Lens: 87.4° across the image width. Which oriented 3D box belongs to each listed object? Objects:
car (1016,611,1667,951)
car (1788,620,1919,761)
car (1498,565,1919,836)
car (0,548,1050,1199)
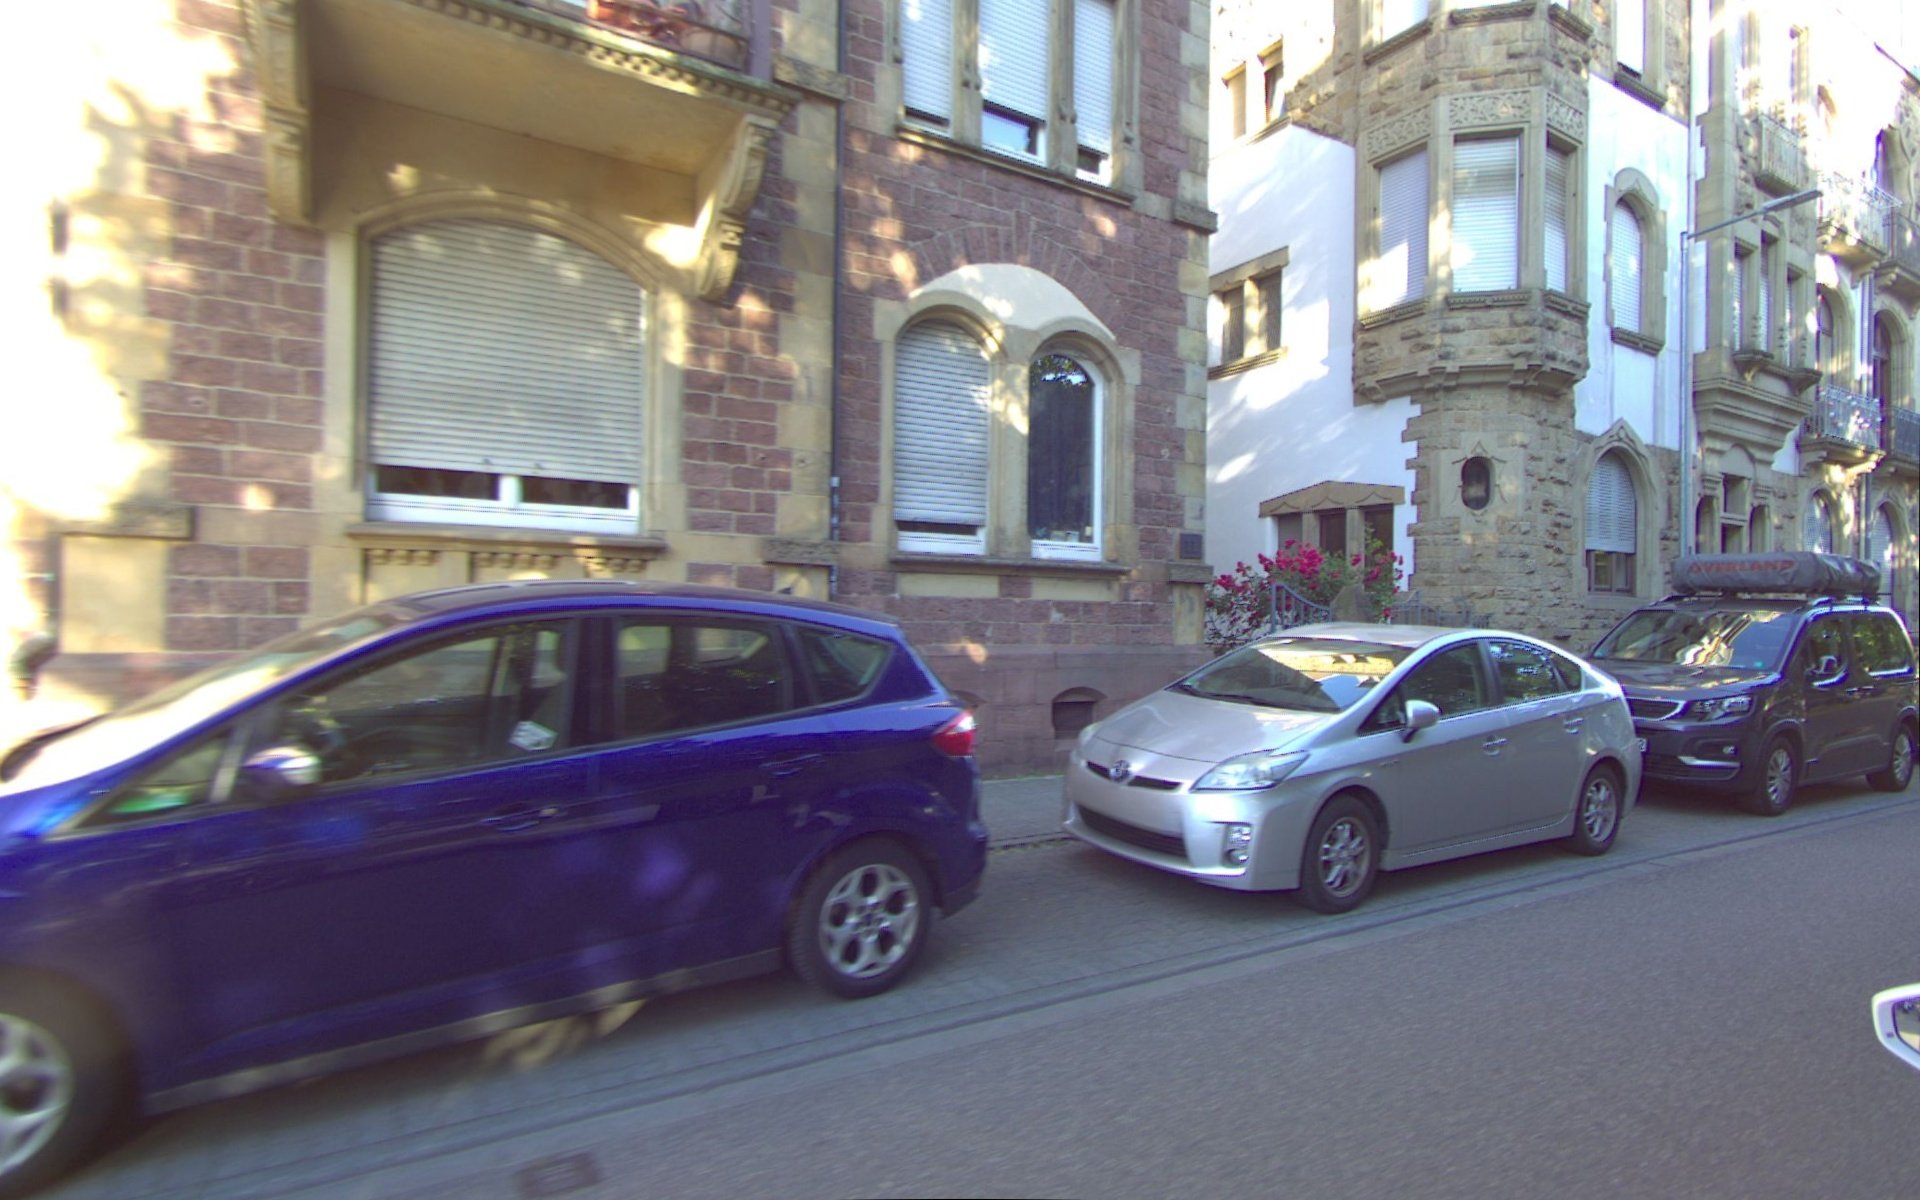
[{"bbox_3d":[2.644,0.874,6.538,4.408,1.519,1.719,1,0,-34],"label":"car"},{"bbox_3d":[12.694,1.125,12.877,4.654,1.595,1.721,3,-2,-30],"label":"car"},{"bbox_3d":[7.254,0.766,9.476,4.450,2.001,1.957,1,0,-34],"label":"car"},{"bbox_3d":[-1.846,0.700,3.850,4.214,1.643,1.719,1,0,-34],"label":"car"}]
